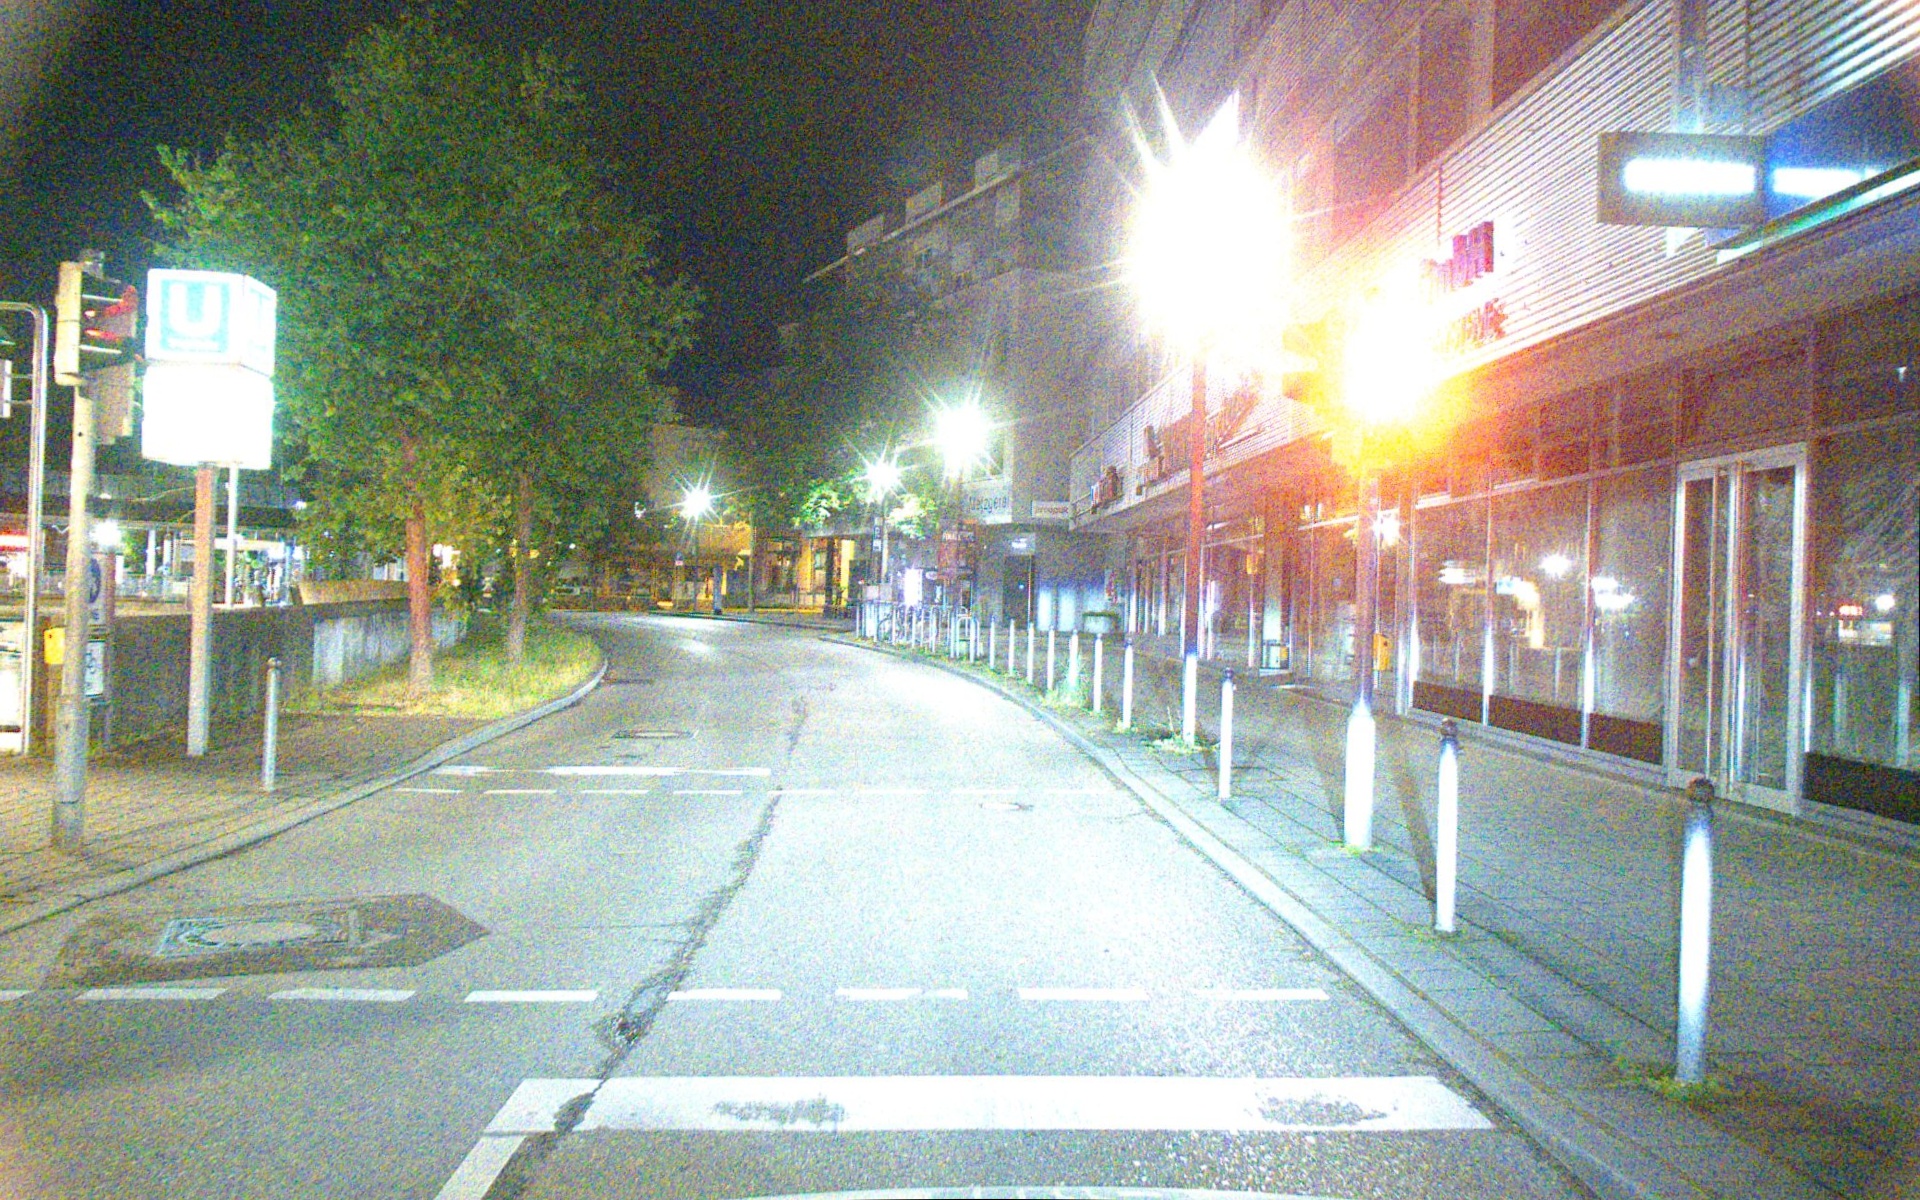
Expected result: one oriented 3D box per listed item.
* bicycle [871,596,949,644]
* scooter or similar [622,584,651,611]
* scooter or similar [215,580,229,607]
[{"bbox_3d":[-1.181,0.479,39.282,1.728,1.081,0.650,1,1,-27],"label":"bicycle"},{"bbox_3d":[-15.873,-0.117,81.262,1.233,1.248,0.593,3,0,-30],"label":"scooter or similar"},{"bbox_3d":[-36.229,-0.315,81.212,0.426,1.307,1.132,0,1,-36],"label":"scooter or similar"}]
